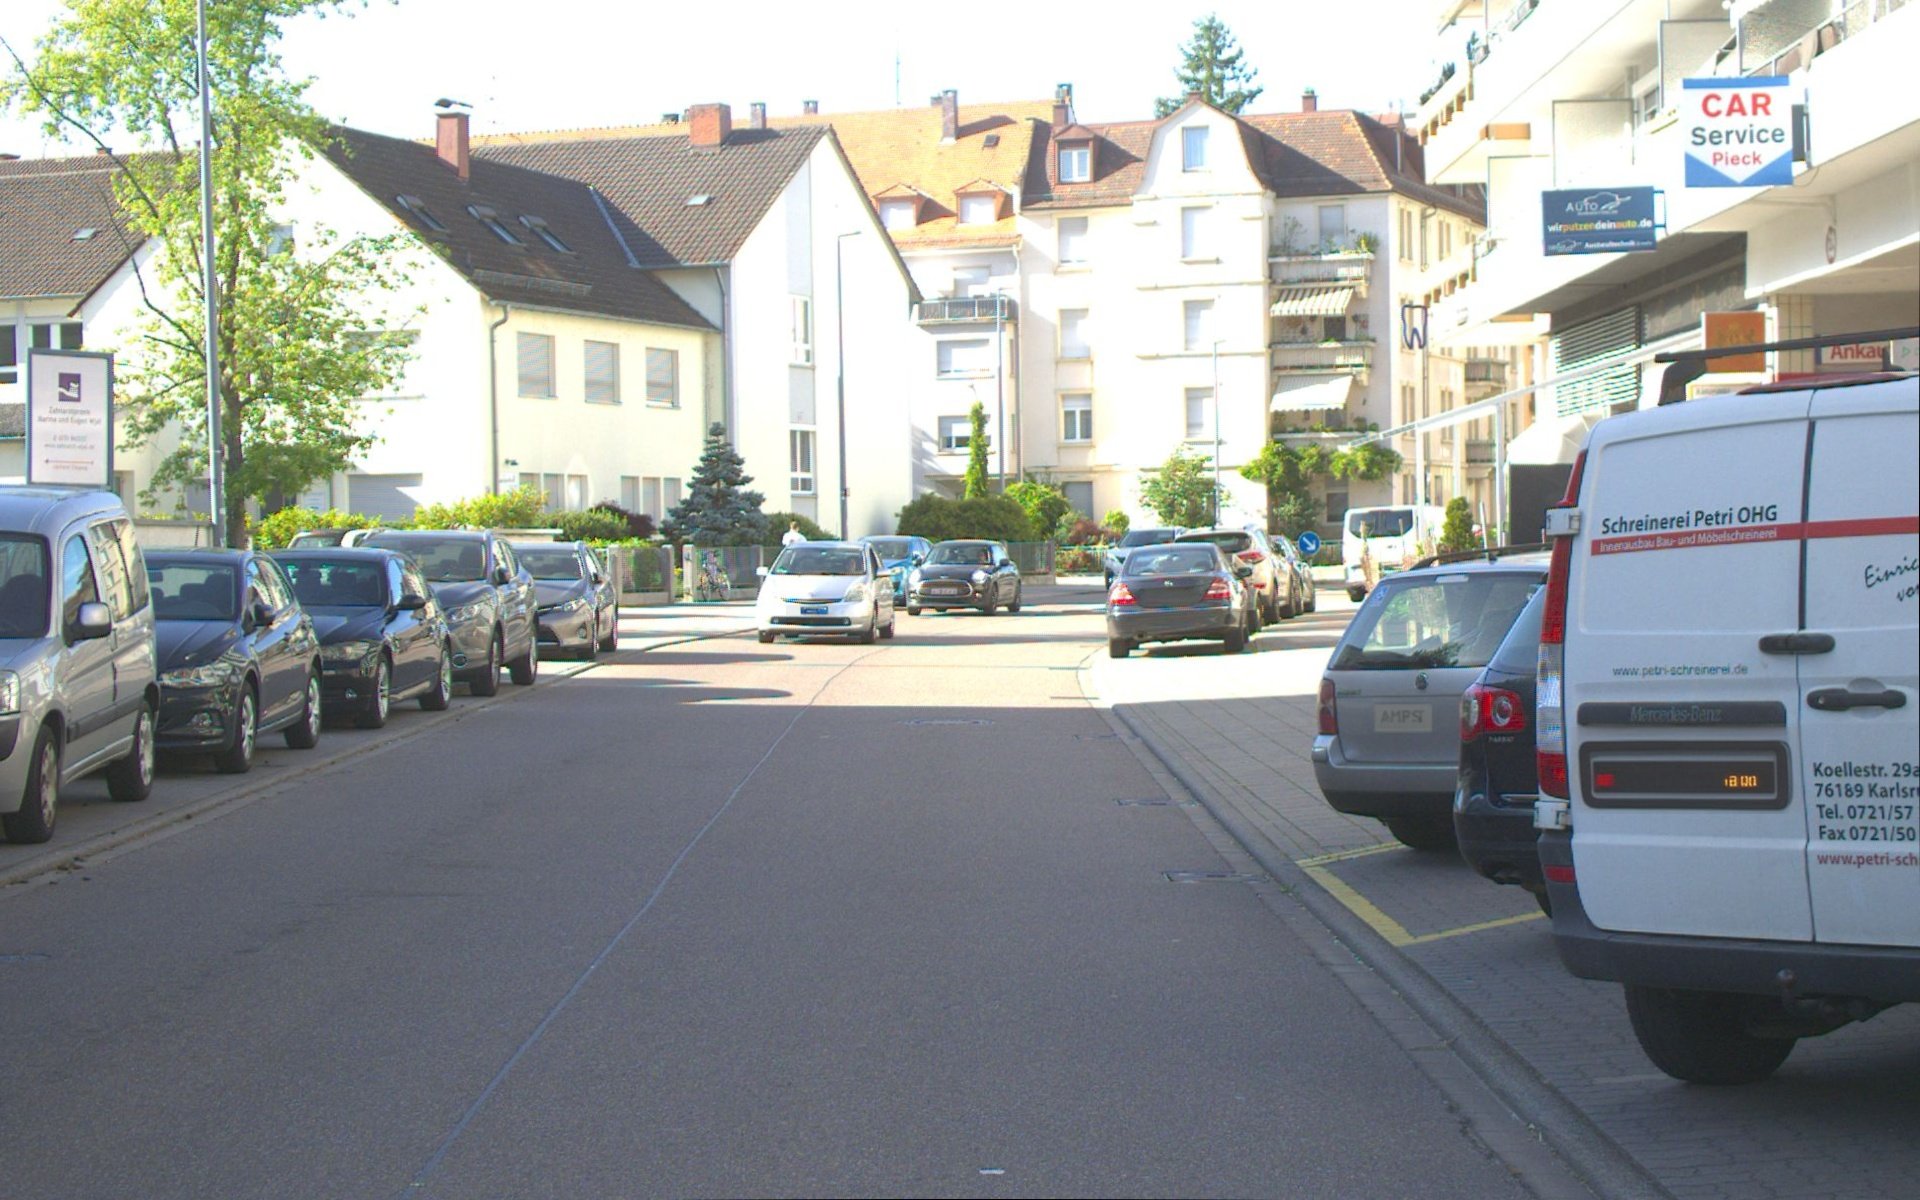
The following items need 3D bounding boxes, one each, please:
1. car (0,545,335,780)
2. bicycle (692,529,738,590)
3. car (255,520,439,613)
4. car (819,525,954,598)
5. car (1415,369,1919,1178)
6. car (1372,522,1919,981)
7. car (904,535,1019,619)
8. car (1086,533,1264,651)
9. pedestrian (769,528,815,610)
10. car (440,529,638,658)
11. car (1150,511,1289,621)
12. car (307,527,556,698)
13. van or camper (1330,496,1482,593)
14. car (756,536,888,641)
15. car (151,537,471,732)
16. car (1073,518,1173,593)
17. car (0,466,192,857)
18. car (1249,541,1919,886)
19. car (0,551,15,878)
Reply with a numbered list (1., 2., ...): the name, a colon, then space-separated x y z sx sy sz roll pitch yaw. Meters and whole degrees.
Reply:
1. car: -5.269 0.349 23.029 1.598 1.435 4.001 0 1 -2
2. bicycle: -5.240 -0.862 73.658 0.456 1.246 1.927 -1 -1 12
3. car: -10.988 -0.576 61.771 1.802 1.550 3.184 -1 -1 23
4. car: -1.531 -0.849 73.322 1.799 1.468 4.328 1 2 14
5. car: 3.643 0.326 9.860 4.517 1.891 2.049 -4 0 -41
6. car: 3.675 0.465 13.511 1.755 1.507 4.316 -2 0 45
7. car: 0.052 -0.425 67.144 1.740 1.507 3.728 -1 -1 8
8. car: 2.891 -0.117 45.202 1.971 1.445 5.002 -1 0 8
9. pedestrian: -3.565 -0.654 72.823 0.683 1.698 0.823 -1 -1 21
10. car: -5.344 -0.131 44.182 1.993 1.529 4.918 -1 1 -1
11. car: 4.308 -0.516 56.568 1.818 1.648 4.557 -1 -1 10
12. car: -5.210 0.070 34.434 1.720 1.581 4.421 0 1 1
13. van or camper: 9.697 -1.229 74.498 2.023 1.940 4.698 -3 1 23
14. car: -2.025 -0.202 51.377 1.726 1.480 4.106 0 1 1
15. car: -5.268 0.225 28.455 1.726 1.460 4.439 0 1 1
16. car: 4.143 -1.096 86.722 1.920 1.719 4.334 -1 -1 10
17. car: -5.331 0.248 18.249 1.687 1.832 4.342 -1 1 -2
18. car: 3.666 0.475 17.194 4.634 1.461 1.690 -2 0 -43
19. car: -5.135 0.550 13.024 1.732 1.434 4.611 -1 1 1
